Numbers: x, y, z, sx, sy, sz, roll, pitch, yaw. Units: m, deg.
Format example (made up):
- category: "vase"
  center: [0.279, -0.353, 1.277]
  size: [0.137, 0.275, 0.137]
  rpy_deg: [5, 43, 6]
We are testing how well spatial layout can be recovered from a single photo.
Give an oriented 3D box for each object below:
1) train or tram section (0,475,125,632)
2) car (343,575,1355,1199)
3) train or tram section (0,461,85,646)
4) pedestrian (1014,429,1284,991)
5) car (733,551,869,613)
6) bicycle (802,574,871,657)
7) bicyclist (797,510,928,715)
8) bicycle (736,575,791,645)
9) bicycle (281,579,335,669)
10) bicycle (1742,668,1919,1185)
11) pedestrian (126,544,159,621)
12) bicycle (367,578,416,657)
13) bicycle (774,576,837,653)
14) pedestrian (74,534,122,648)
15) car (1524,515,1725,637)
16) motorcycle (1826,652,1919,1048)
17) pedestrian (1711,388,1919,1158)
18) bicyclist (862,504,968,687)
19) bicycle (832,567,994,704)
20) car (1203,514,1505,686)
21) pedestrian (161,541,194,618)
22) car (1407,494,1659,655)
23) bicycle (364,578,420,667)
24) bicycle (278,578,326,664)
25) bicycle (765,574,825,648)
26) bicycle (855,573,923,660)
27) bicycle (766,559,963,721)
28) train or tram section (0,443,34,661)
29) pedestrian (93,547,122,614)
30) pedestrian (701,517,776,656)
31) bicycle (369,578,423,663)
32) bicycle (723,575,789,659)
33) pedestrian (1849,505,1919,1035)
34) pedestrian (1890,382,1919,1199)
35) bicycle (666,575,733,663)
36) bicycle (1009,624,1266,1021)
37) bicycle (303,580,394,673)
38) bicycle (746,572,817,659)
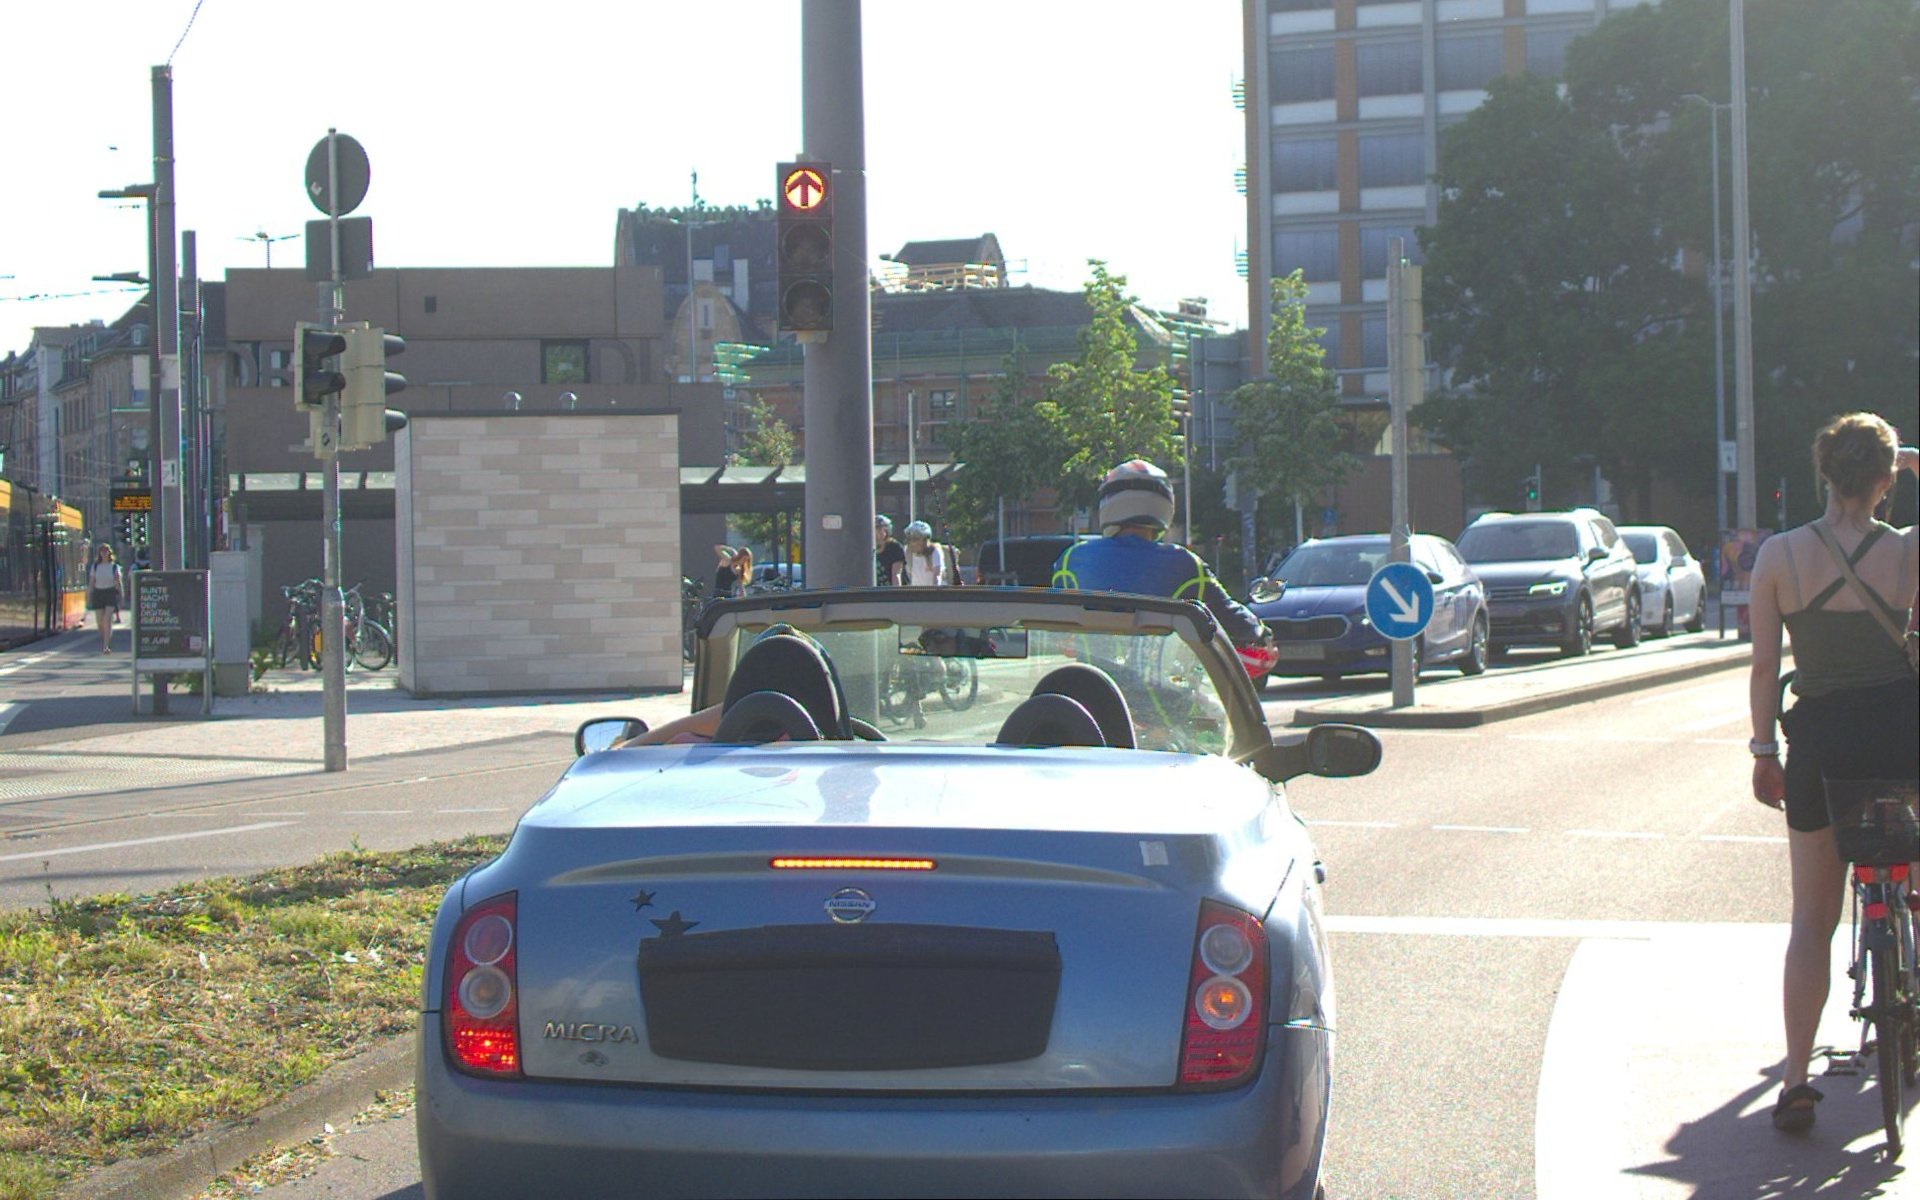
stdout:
- category: "train or tram section"
  center: [-22.578, -1.142, 84.594]
  size: [3.039, 3.584, 12.055]
  rpy_deg: [1, 1, -9]
- category: "car"
  center: [0.032, 0.677, 7.691]
  size: [1.660, 1.436, 4.153]
  rpy_deg: [1, 1, 6]
- category: "train or tram section"
  center: [-20.510, -0.994, 72.668]
  size: [3.011, 3.584, 12.203]
  rpy_deg: [1, 1, -10]
- category: "pedestrian"
  center: [0.672, 0.360, 11.963]
  size: [0.833, 1.862, 0.920]
  rpy_deg: [1, 0, 8]
- category: "car"
  center: [-4.123, -0.457, 88.686]
  size: [1.640, 1.555, 3.599]
  rpy_deg: [-2, 1, -39]
- category: "bicycle"
  center: [-1.722, 0.203, 47.582]
  size: [0.606, 1.111, 1.897]
  rpy_deg: [1, 1, -12]
- category: "bicyclist"
  center: [-0.814, 0.098, 28.779]
  size: [0.709, 1.651, 0.900]
  rpy_deg: [-3, 0, 22]
- category: "bicycle"
  center: [-3.247, 0.157, 56.747]
  size: [0.606, 1.111, 1.897]
  rpy_deg: [1, 1, -12]
- category: "bicycle"
  center: [-8.366, 0.299, 44.068]
  size: [0.606, 1.111, 1.897]
  rpy_deg: [1, 1, -12]
- category: "bicycle"
  center: [2.367, 0.780, 8.975]
  size: [0.564, 1.147, 1.948]
  rpy_deg: [1, 1, 14]
- category: "pedestrian"
  center: [-18.655, -0.405, 78.438]
  size: [0.637, 1.743, 0.736]
  rpy_deg: [-1, 1, -19]
- category: "bicycle"
  center: [-8.331, 0.244, 50.337]
  size: [0.606, 1.111, 1.897]
  rpy_deg: [1, 1, -12]
- category: "bicycle"
  center: [-2.314, 0.207, 51.270]
  size: [0.606, 1.111, 1.897]
  rpy_deg: [1, 1, -12]
- category: "pedestrian"
  center: [-13.349, -0.142, 53.242]
  size: [0.637, 1.743, 0.572]
  rpy_deg: [-1, 1, -19]
- category: "car"
  center: [9.000, -0.347, 46.328]
  size: [1.697, 1.555, 3.974]
  rpy_deg: [-1, 1, 25]
- category: "motorcycle"
  center: [3.172, 0.746, 11.078]
  size: [0.614, 1.094, 2.358]
  rpy_deg: [1, 1, 17]
- category: "pedestrian"
  center: [2.286, 0.414, 8.782]
  size: [0.659, 1.862, 0.872]
  rpy_deg: [1, 0, 15]
- category: "bicyclist"
  center: [-0.409, -0.047, 31.485]
  size: [0.709, 1.651, 0.742]
  rpy_deg: [-1, 1, 22]
- category: "bicycle"
  center: [-0.409, 0.309, 31.464]
  size: [0.675, 1.176, 2.181]
  rpy_deg: [-1, 1, 22]
- category: "car"
  center: [3.914, -0.013, 33.631]
  size: [1.739, 1.568, 3.919]
  rpy_deg: [1, 1, 25]
- category: "pedestrian"
  center: [-17.965, -0.467, 78.943]
  size: [0.637, 1.743, 0.736]
  rpy_deg: [-1, 1, -19]
- category: "car"
  center: [6.685, -0.317, 39.716]
  size: [1.763, 1.700, 4.525]
  rpy_deg: [-2, 0, 24]
- category: "bicycle"
  center: [-7.341, 0.277, 44.399]
  size: [0.606, 1.111, 1.897]
  rpy_deg: [1, 1, -12]
- category: "bicycle"
  center: [-8.800, 0.274, 45.993]
  size: [0.606, 1.111, 1.897]
  rpy_deg: [1, 1, -11]
- category: "bicycle"
  center: [-2.562, 0.161, 53.241]
  size: [0.606, 1.111, 1.897]
  rpy_deg: [1, 1, -12]
- category: "bicycle"
  center: [-0.948, 0.207, 45.565]
  size: [0.606, 1.111, 1.897]
  rpy_deg: [1, 1, -10]
- category: "bicycle"
  center: [-0.774, 0.313, 28.850]
  size: [0.675, 1.246, 2.454]
  rpy_deg: [-3, 0, 22]
- category: "train or tram section"
  center: [-18.168, -0.853, 60.678]
  size: [2.880, 3.584, 12.203]
  rpy_deg: [1, 1, -12]
- category: "pedestrian"
  center: [-22.297, -0.516, 89.924]
  size: [0.604, 1.743, 0.832]
  rpy_deg: [-1, 1, -8]
- category: "pedestrian"
  center: [-3.012, -0.183, 46.776]
  size: [0.900, 1.862, 0.687]
  rpy_deg: [1, 0, -12]
- category: "bicycle"
  center: [-7.630, 0.266, 46.462]
  size: [0.606, 1.111, 1.897]
  rpy_deg: [1, 1, -12]
- category: "bicycle"
  center: [-2.808, 0.224, 47.194]
  size: [0.606, 1.111, 1.897]
  rpy_deg: [1, 1, -12]
- category: "pedestrian"
  center: [3.132, 0.512, 10.812]
  size: [0.588, 1.593, 1.024]
  rpy_deg: [1, 0, 17]
- category: "pedestrian"
  center: [2.488, 0.456, 7.395]
  size: [0.806, 1.862, 0.956]
  rpy_deg: [1, 0, 8]
- category: "bicycle"
  center: [-3.431, 0.236, 45.121]
  size: [0.606, 1.111, 1.897]
  rpy_deg: [1, 1, -12]
- category: "bicycle"
  center: [0.657, 0.699, 11.900]
  size: [0.608, 1.187, 2.414]
  rpy_deg: [1, 1, 9]
- category: "bicycle"
  center: [-7.546, 0.317, 42.463]
  size: [0.607, 1.111, 1.896]
  rpy_deg: [1, 1, 5]
- category: "bicycle"
  center: [-2.357, 0.190, 45.262]
  size: [0.606, 1.111, 1.897]
  rpy_deg: [1, 1, -12]
